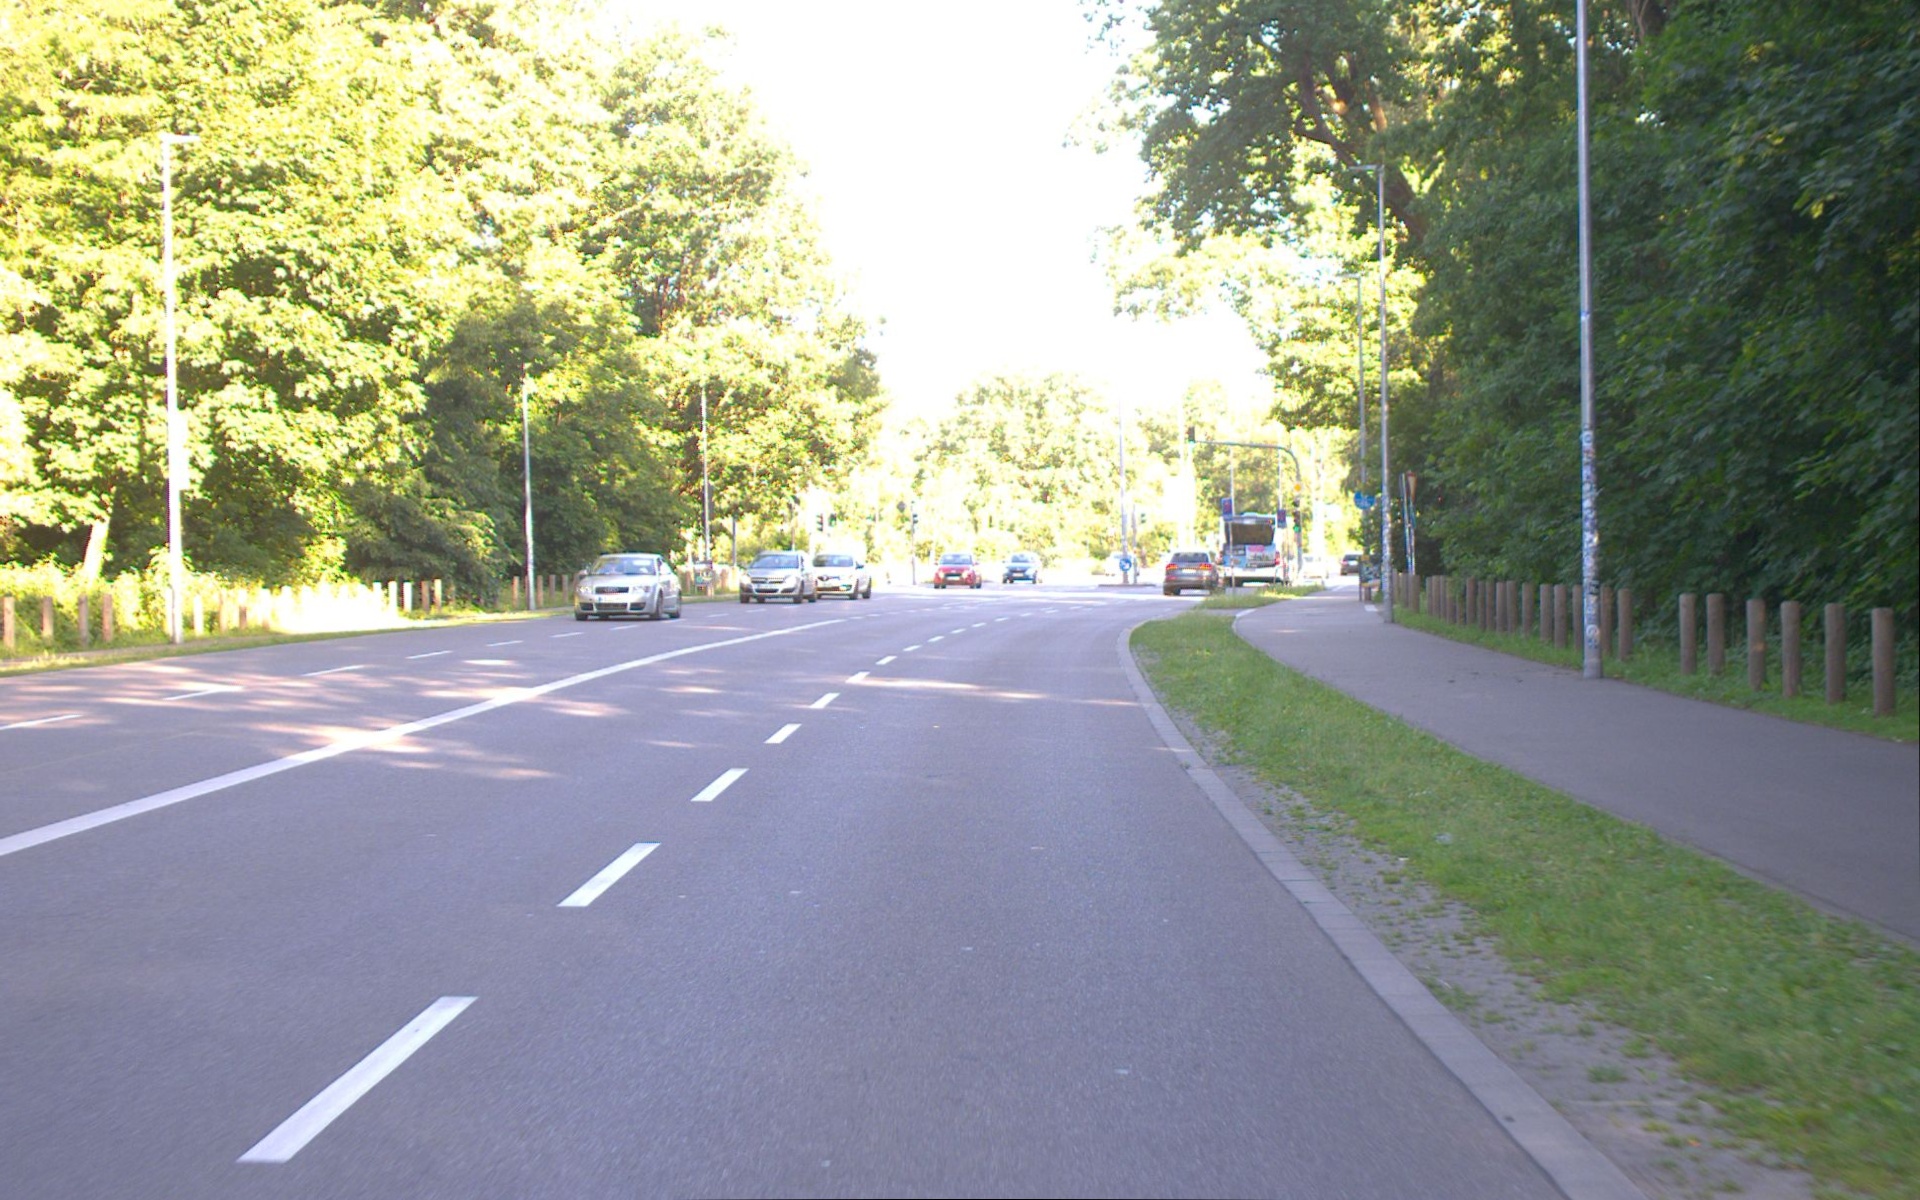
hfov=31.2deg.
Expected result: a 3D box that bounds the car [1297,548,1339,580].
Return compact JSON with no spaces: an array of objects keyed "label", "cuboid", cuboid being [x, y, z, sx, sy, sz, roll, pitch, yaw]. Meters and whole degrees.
[{"label":"car","cuboid":[19.519,-1.957,187.358,1.864,1.678,3.770,-1,1,12]}]

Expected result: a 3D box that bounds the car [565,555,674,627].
[{"label":"car","cuboid":[-7.055,-0.215,71.549,1.779,1.403,4.166,0,1,1]}]

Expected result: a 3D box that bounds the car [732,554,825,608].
[{"label":"car","cuboid":[-5.044,-0.541,95.956,1.780,1.459,4.273,0,0,9]}]

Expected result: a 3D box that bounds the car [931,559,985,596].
[{"label":"car","cuboid":[-0.071,-0.932,141.219,1.663,1.513,3.806,0,1,9]}]

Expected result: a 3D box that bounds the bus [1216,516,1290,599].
[{"label":"bus","cuboid":[12.344,-1.787,144.414,2.606,3.357,7.973,1,1,8]}]

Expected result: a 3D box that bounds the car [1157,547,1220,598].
[{"label":"car","cuboid":[8.055,-0.990,121.141,1.881,1.759,3.999,0,1,8]}]

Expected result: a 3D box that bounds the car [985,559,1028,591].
[{"label":"car","cuboid":[2.253,-1.212,164.917,1.656,1.503,3.999,0,1,7]}]

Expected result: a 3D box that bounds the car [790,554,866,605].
[{"label":"car","cuboid":[-4.033,-0.653,105.774,1.783,1.517,4.397,0,1,5]}]

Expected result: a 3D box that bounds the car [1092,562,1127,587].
[{"label":"car","cuboid":[8.982,-1.555,206.416,1.711,1.459,4.099,1,1,7]}]
